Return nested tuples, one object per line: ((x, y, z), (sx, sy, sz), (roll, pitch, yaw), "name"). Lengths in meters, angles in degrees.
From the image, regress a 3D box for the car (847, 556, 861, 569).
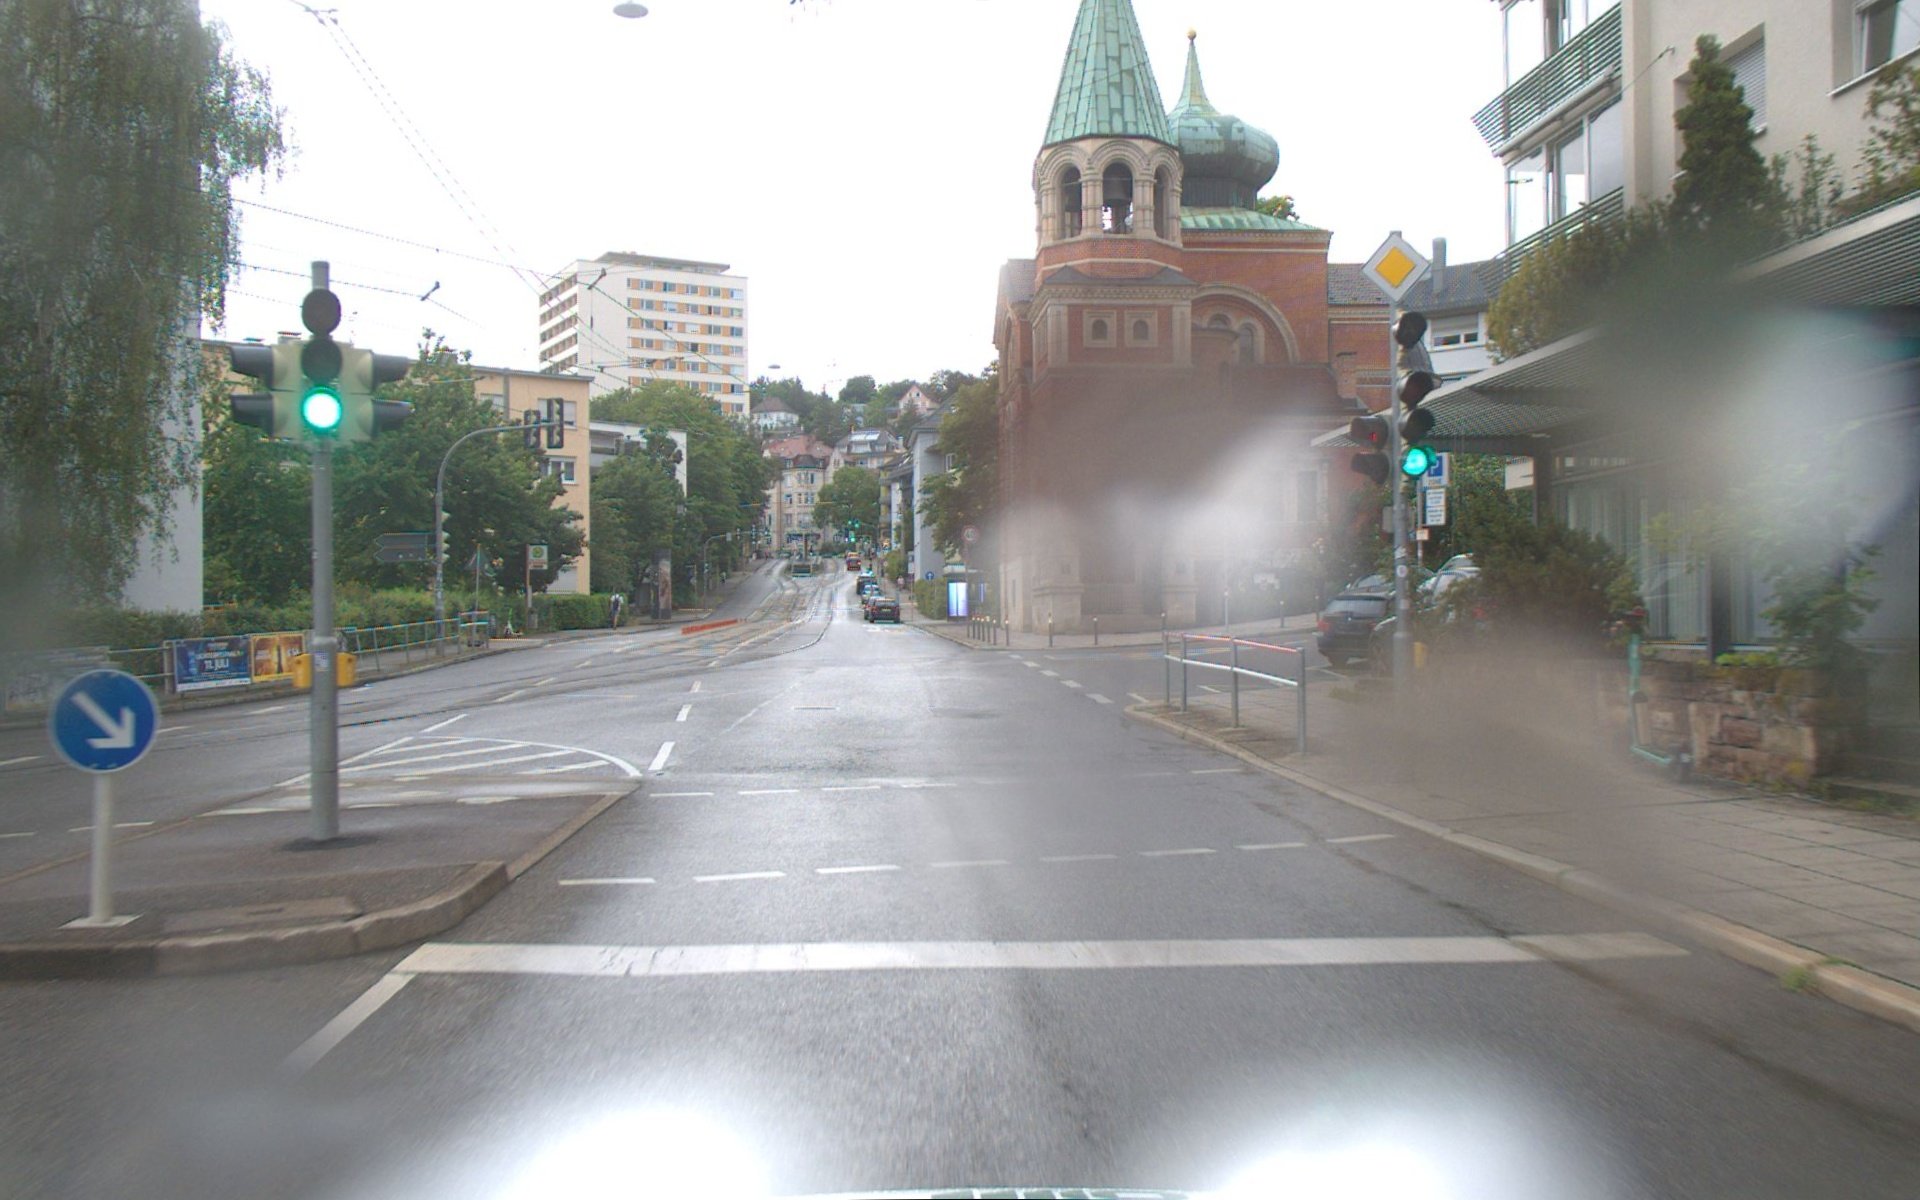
((-13.727, -4.870, 214.354), (1.767, 1.674, 3.996), (0, 1, -5), "car")

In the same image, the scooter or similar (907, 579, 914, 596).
((-4.122, -1.062, 137.859), (0.563, 1.270, 1.611), (0, 5, 1), "scooter or similar")

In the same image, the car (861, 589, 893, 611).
((-5.638, -0.006, 111.971), (1.902, 1.489, 4.201), (0, 0, -6), "car")

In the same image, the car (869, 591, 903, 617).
((-4.533, 0.242, 100.566), (1.822, 1.513, 4.639), (0, 0, -6), "car")

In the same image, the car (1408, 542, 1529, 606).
((14.894, -0.786, 48.348), (1.912, 1.520, 3.909), (-3, 2, 41), "car")

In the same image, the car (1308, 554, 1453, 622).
((11.393, -0.341, 44.604), (1.907, 1.391, 4.455), (-4, 2, 41), "car")

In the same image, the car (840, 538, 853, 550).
((-17.708, -8.746, 257.647), (1.869, 1.670, 4.686), (1, 2, -5), "car")

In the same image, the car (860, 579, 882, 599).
((-7.361, -0.947, 136.993), (1.671, 1.458, 4.098), (1, 2, -5), "car")

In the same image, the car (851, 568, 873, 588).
((-9.088, -2.019, 153.268), (1.869, 1.670, 4.686), (1, 2, -5), "car")

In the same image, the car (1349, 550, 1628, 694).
((6.555, 0.301, 21.088), (1.817, 1.529, 4.445), (-3, -1, -4), "car")

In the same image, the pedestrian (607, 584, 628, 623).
((-16.624, 0.185, 80.251), (0.902, 1.878, 1.015), (1, -1, -8), "pedestrian")

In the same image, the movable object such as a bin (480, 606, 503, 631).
((-16.580, 0.661, 58.507), (0.674, 0.897, 0.758), (1, -1, -10), "movable object such as a bin")

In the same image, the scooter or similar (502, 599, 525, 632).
((-16.261, 0.567, 60.253), (0.561, 1.205, 1.597), (1, -1, -7), "scooter or similar")

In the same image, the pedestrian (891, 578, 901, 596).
((-5.914, -1.177, 152.146), (0.865, 1.610, 0.801), (-2, 4, -2), "pedestrian")

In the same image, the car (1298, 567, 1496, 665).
((8.368, 0.240, 31.444), (1.965, 1.482, 4.428), (0, 4, 40), "car")

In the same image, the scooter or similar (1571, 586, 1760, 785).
((5.250, 0.600, 12.423), (0.524, 1.350, 1.658), (-5, 0, -3), "scooter or similar")
